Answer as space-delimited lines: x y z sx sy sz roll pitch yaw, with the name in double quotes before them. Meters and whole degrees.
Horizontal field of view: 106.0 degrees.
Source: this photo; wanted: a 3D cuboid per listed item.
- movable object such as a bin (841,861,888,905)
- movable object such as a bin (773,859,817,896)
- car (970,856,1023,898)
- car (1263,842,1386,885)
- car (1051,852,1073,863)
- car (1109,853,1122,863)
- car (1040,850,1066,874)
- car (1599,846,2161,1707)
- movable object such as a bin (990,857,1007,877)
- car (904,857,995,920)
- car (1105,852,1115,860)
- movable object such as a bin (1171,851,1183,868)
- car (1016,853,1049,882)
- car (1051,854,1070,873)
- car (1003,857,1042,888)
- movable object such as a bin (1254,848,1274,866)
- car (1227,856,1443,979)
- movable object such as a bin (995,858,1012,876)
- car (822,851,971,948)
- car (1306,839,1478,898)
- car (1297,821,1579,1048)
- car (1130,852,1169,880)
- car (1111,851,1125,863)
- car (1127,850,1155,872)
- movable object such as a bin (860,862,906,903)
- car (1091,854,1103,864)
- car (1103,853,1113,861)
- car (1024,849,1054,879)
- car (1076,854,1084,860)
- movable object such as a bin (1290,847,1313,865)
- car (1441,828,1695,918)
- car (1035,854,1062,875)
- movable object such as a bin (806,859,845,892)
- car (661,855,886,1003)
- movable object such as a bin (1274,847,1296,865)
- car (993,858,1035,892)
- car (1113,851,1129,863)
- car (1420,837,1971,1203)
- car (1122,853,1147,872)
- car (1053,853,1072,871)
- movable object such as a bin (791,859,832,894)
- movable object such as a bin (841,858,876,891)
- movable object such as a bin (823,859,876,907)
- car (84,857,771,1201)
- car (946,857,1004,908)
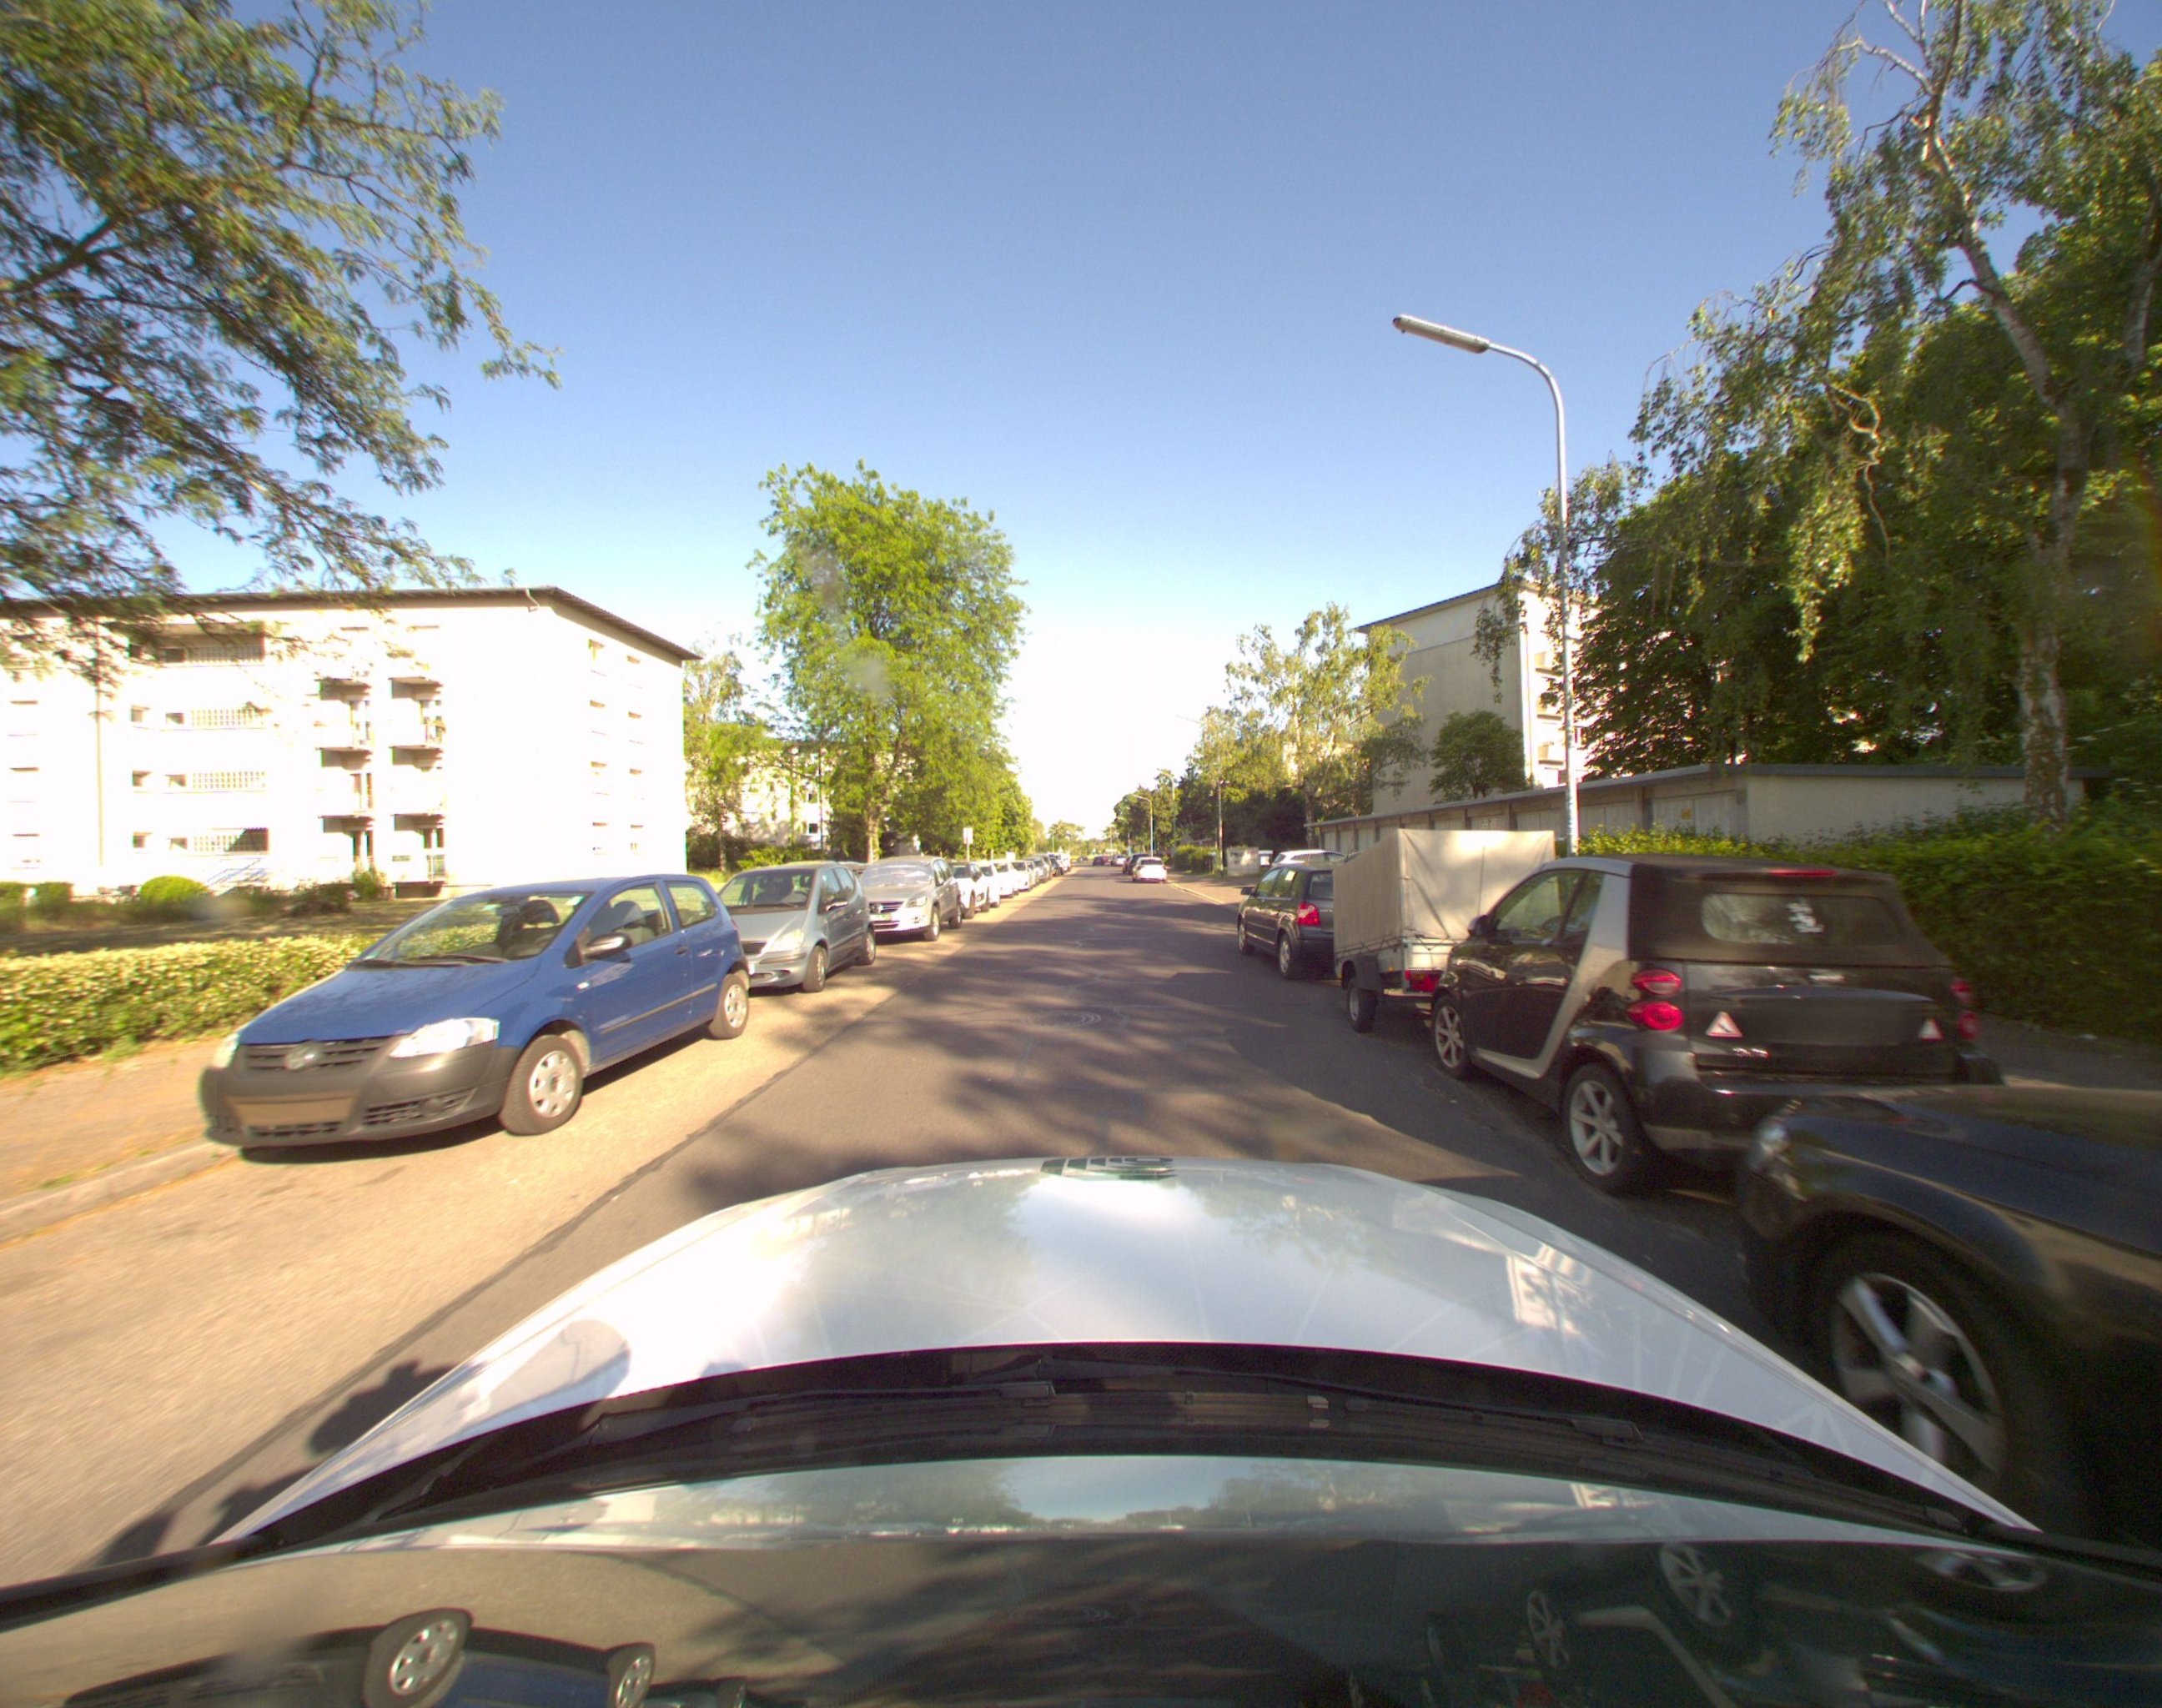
"movable object such as a bin" -7.071 0.929 26.711 1.131 1.358 1.244 1 0 2
"movable object such as a bin" -11.572 0.940 32.970 1.172 1.420 1.463 1 0 3
"car" -3.409 0.887 33.358 1.681 1.535 3.891 -3 0 0
"car" 9.781 0.366 32.985 4.399 1.513 1.829 -3 0 1
"car" -3.527 0.681 150.518 4.046 1.992 1.799 -1 0 -4
"car" 5.515 0.652 128.789 1.791 1.643 3.949 -1 0 -1
"car" -2.383 0.694 71.373 1.908 1.962 5.089 -3 0 1
"car" 2.737 0.739 0.653 1.727 1.490 4.498 1 0 -1
"movable object such as a bin" -6.261 0.986 61.577 1.097 1.420 1.361 1 0 1
"car" -3.511 0.872 22.379 1.656 1.513 3.947 -3 0 2
"car" 5.884 0.489 163.626 1.791 1.548 3.949 -1 0 -1
"movable object such as a bin" 8.606 0.514 73.133 0.914 1.454 1.233 -2 0 1
"car" -2.939 0.822 50.215 1.704 1.600 3.984 -4 0 -1
"car" -2.049 0.902 79.623 1.742 1.669 4.375 -3 0 -2
"car" -3.181 0.968 44.756 1.681 1.465 4.525 -4 0 0
"movable object such as a bin" 14.042 0.230 62.618 1.250 1.353 1.279 -1 0 0
"car" 3.287 0.733 11.341 1.727 1.403 3.893 0 0 -1
"movable object such as a bin" -6.118 1.048 64.391 1.097 1.356 1.361 1 0 1
"car" -3.575 0.817 16.637 1.896 1.639 4.349 -3 0 1
"car" 9.362 0.426 24.779 4.496 1.513 1.830 -3 0 2
"car" 3.056 0.612 7.481 1.484 1.718 2.583 0 0 0
"car" 3.832 0.663 46.168 1.748 1.513 4.102 0 0 -1
"car" 5.595 0.485 124.219 1.791 1.786 3.949 -1 0 -1
"car" 4.540 0.518 62.236 1.901 1.639 4.629 -1 0 1
"movable object such as a bin" -6.769 0.947 27.978 1.173 1.340 1.344 1 0 2
"car" 2.475 0.702 125.069 1.675 1.513 4.102 0 0 -1
"car" 5.715 0.632 171.246 1.791 1.643 3.949 -1 0 -1
"car" -2.855 0.674 56.190 1.849 1.892 4.416 -3 0 -1
"car" -0.255 0.838 212.353 1.791 1.561 3.949 -1 0 -1
"movable object such as a bin" 17.180 0.148 63.452 1.254 1.353 1.275 -1 0 -10
"car" 9.535 0.358 16.156 3.932 1.513 1.827 -3 0 -2
"car" -2.558 0.781 65.155 1.739 1.533 4.142 -3 0 3
"movable object such as a bin" -11.348 0.949 36.189 1.172 1.420 1.463 1 0 3
"car" -3.932 0.856 11.060 1.630 1.606 3.534 -3 0 0
"movable object such as a bin" 15.746 0.160 62.973 1.254 1.353 1.275 -1 0 -8
"car" -3.184 0.964 39.206 1.681 1.505 3.816 -2 0 -1
"car" 5.318 0.353 108.345 1.791 1.561 3.949 -1 0 -1
"car" 3.109 0.693 4.718 1.408 1.523 2.561 0 0 5
"car" 4.443 0.712 68.086 1.901 1.531 4.328 -1 0 1
"car" -1.943 0.842 85.213 1.740 1.732 4.006 -3 0 1
"movable object such as a bin" -11.445 0.926 34.669 1.172 1.420 1.463 1 0 3
"movable object such as a bin" -10.047 0.908 36.757 1.130 1.420 1.362 1 0 2
"movable object such as a bin" -7.140 0.876 25.187 1.131 1.382 1.442 1 0 2
"car" -4.058 0.892 6.085 1.748 1.606 3.970 -4 0 2
"car" -3.430 0.888 26.846 1.660 1.513 3.531 -3 0 -5
